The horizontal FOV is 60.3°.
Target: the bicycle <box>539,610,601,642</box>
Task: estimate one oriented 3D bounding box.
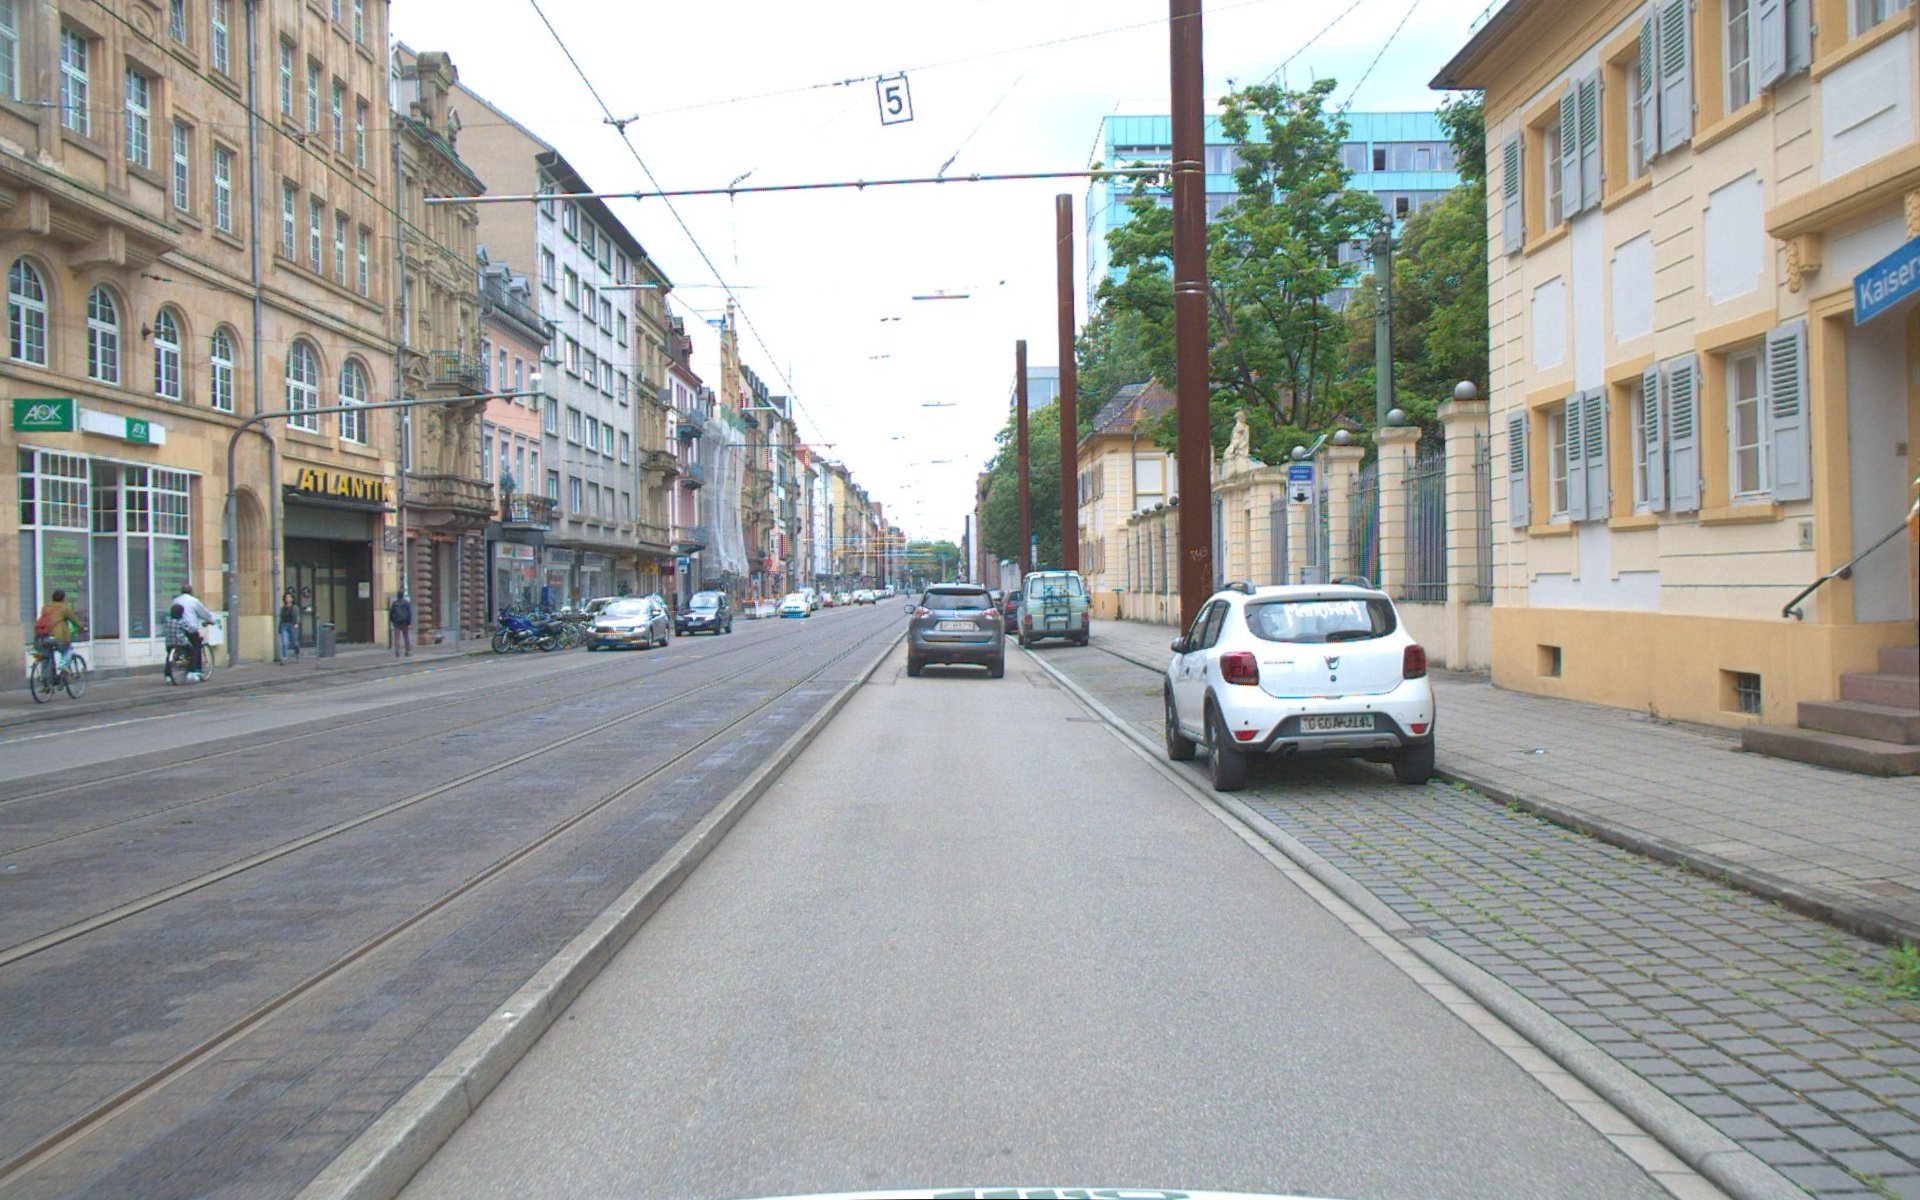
[{"bbox_3d":[-12.784,0.851,54.196,1.929,1.018,0.462,-1,0,-9],"label":"bicycle"}]

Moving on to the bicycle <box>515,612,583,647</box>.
[{"bbox_3d":[-12.505,0.894,50.344,1.929,1.018,0.462,-1,0,-9],"label":"bicycle"}]

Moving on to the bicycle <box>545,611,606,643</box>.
[{"bbox_3d":[-12.785,0.891,54.984,1.929,1.018,0.462,-1,0,-9],"label":"bicycle"}]

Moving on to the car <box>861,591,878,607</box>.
[{"bbox_3d":[-10.263,-0.098,187.146,1.954,1.663,3.997,-1,-1,-4],"label":"car"}]

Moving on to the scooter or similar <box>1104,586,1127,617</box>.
[{"bbox_3d":[6.359,0.075,67.681,0.731,1.272,1.919,-1,-1,-1],"label":"scooter or similar"}]

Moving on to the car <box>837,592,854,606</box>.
[{"bbox_3d":[-13.578,-0.092,195.933,1.954,1.663,3.997,-1,-1,-4],"label":"car"}]

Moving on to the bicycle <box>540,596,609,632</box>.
[{"bbox_3d":[-12.948,0.466,55.612,2.189,1.146,0.503,-1,0,-9],"label":"bicycle"}]

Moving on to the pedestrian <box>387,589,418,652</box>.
[{"bbox_3d":[-14.383,0.522,42.688,0.556,1.626,0.718,-1,0,-1],"label":"pedestrian"}]

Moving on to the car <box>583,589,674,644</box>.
[{"bbox_3d":[-9.544,0.435,47.927,1.723,1.474,4.614,-1,0,0],"label":"car"}]

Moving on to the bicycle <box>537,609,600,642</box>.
[{"bbox_3d":[-12.657,0.824,53.463,1.929,1.018,0.462,-1,0,-9],"label":"bicycle"}]

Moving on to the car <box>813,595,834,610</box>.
[{"bbox_3d":[-13.633,0.261,165.497,1.954,1.490,3.997,-1,-1,-4],"label":"car"}]

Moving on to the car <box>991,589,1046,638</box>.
[{"bbox_3d":[2.080,0.457,60.134,1.714,1.623,3.923,-4,0,-1],"label":"car"}]

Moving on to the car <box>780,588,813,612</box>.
[{"bbox_3d":[-10.091,0.000,102.195,1.653,1.445,4.134,-1,0,-1],"label":"car"}]

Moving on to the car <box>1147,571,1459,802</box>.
[{"bbox_3d":[2.761,0.623,14.185,1.720,1.601,3.930,-3,0,-1],"label":"car"}]

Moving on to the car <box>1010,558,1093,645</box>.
[{"bbox_3d":[2.466,0.027,45.785,1.814,2.151,4.983,-4,0,-1],"label":"car"}]

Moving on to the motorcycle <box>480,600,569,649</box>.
[{"bbox_3d":[-12.537,0.695,47.684,2.319,1.325,0.872,-1,0,-37],"label":"motorcycle"}]

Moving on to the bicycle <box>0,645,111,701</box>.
[{"bbox_3d":[-14.111,1.122,25.829,0.570,0.758,2.250,-1,0,-1],"label":"bicycle"}]

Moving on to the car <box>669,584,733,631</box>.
[{"bbox_3d":[-9.830,0.246,63.078,1.723,1.701,4.614,-1,0,0],"label":"car"}]

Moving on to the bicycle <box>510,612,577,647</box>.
[{"bbox_3d":[-12.468,0.879,49.585,1.885,1.018,0.462,-1,0,-9],"label":"bicycle"}]

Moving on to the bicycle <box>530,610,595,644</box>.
[{"bbox_3d":[-12.547,0.838,52.235,1.929,1.018,0.462,-1,0,-9],"label":"bicycle"}]

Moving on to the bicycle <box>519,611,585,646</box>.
[{"bbox_3d":[-12.582,0.879,51.009,1.929,1.018,0.462,-1,0,-9],"label":"bicycle"}]

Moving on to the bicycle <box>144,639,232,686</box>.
[{"bbox_3d":[-14.149,1.127,30.367,0.570,0.758,2.250,-1,0,-1],"label":"bicycle"}]

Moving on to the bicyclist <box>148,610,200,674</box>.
[{"bbox_3d":[-14.154,0.749,29.792,0.598,1.137,0.659,-1,0,-1],"label":"bicyclist"}]

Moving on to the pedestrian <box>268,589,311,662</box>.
[{"bbox_3d":[-15.412,0.577,38.056,0.671,1.641,0.742,-1,0,-1],"label":"pedestrian"}]

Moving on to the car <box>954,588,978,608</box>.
[{"bbox_3d":[0.463,-0.162,127.191,1.740,1.445,4.134,-1,0,-1],"label":"car"}]

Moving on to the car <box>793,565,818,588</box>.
[{"bbox_3d":[-12.756,-1.911,136.685,1.954,1.736,3.997,-1,-1,-4],"label":"car"}]

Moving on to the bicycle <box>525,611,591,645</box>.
[{"bbox_3d":[-12.527,0.865,51.571,1.929,1.018,0.462,-1,0,-9],"label":"bicycle"}]

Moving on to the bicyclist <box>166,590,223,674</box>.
[{"bbox_3d":[-14.163,0.583,30.620,0.598,1.513,0.972,-1,0,-1],"label":"bicyclist"}]

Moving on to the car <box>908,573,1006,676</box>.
[{"bbox_3d":[-0.078,0.420,31.435,1.714,1.786,3.923,1,0,-1],"label":"car"}]

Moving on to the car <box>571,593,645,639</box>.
[{"bbox_3d":[-12.553,0.538,59.248,1.740,1.531,4.401,-1,0,-1],"label":"car"}]

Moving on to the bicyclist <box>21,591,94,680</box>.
[{"bbox_3d":[-14.118,0.542,25.902,0.598,1.347,0.972,-1,0,-1],"label":"bicyclist"}]
